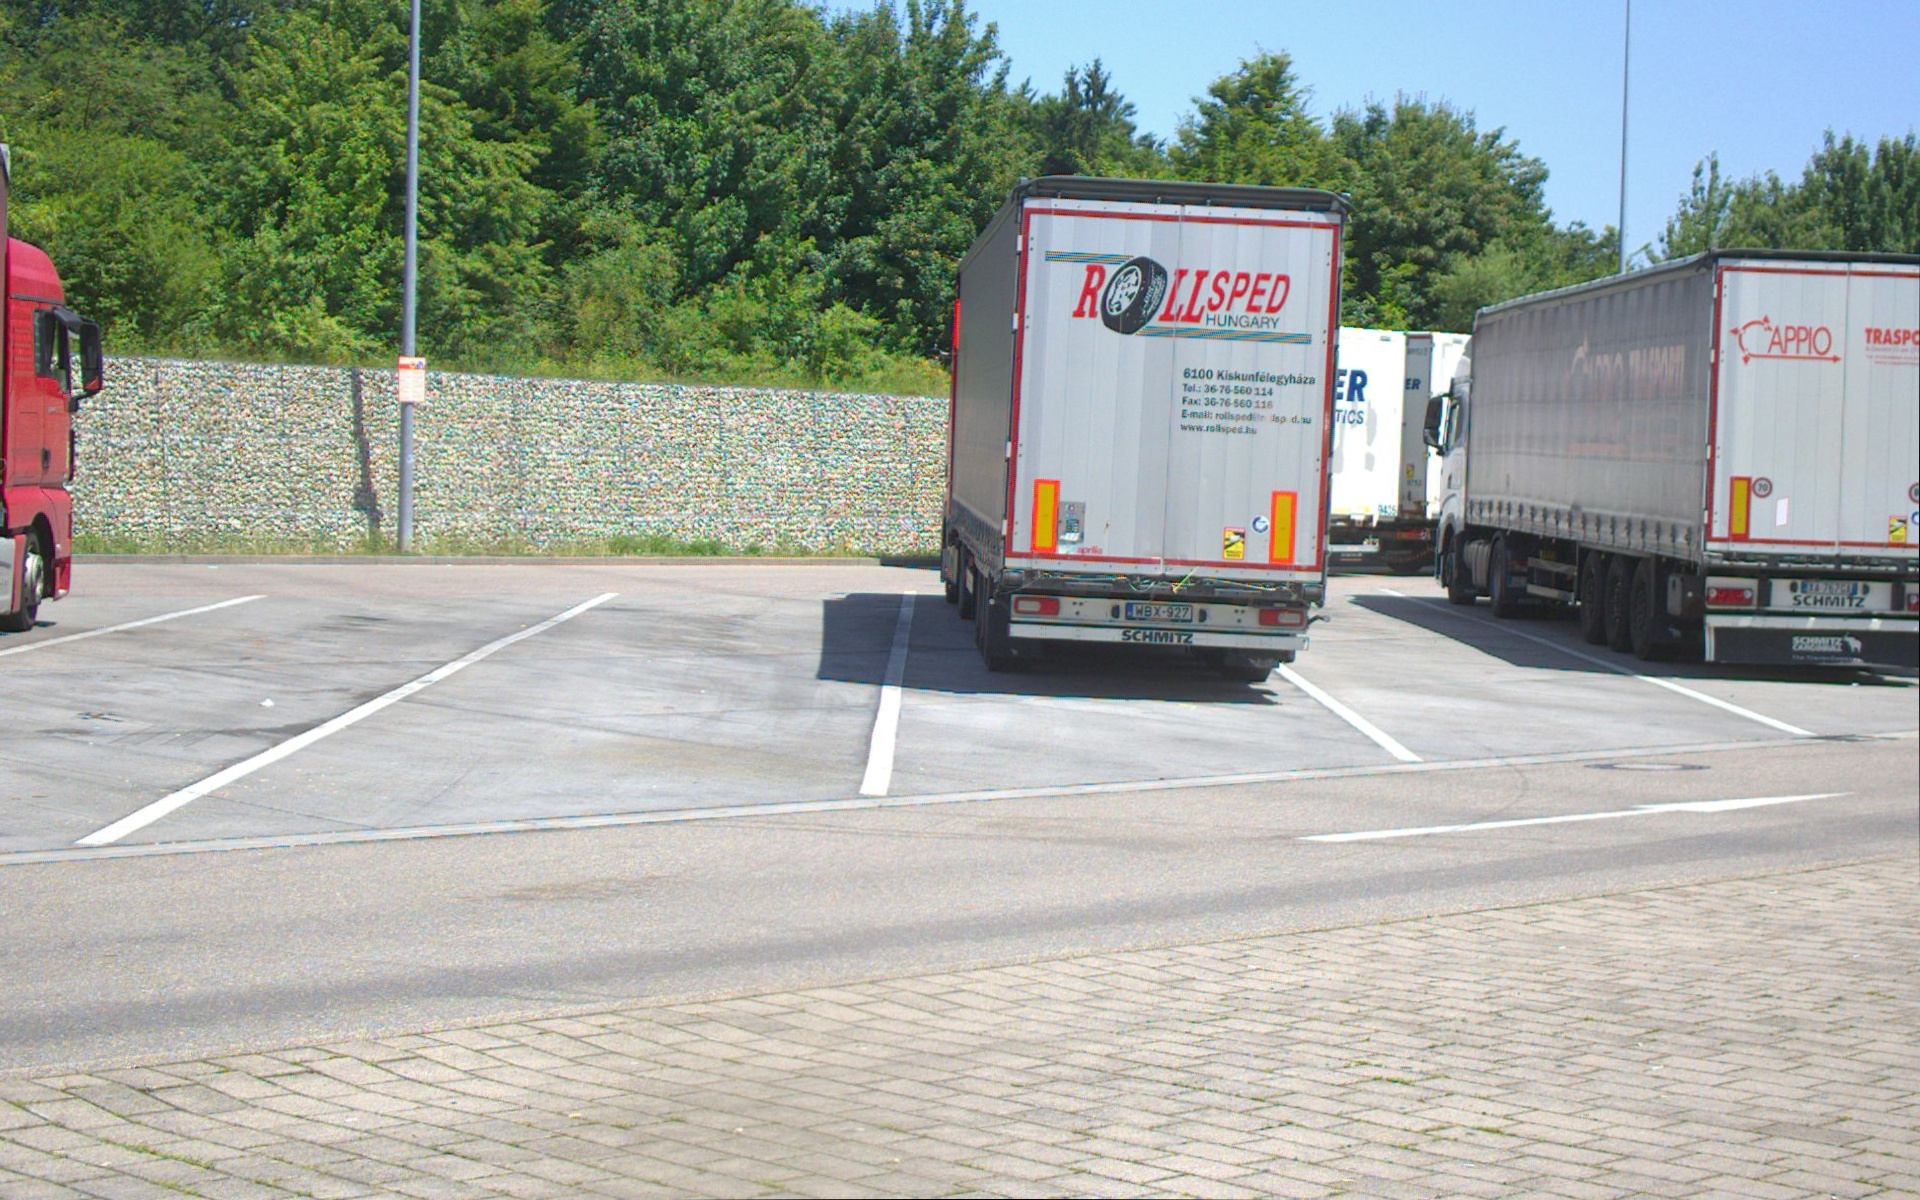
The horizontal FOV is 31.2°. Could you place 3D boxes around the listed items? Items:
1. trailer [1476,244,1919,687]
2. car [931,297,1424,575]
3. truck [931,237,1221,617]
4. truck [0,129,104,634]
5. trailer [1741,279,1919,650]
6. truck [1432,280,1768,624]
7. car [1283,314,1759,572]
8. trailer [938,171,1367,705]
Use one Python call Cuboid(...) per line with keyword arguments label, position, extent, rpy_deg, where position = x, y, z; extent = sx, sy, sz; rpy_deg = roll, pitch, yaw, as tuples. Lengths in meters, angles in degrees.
Cuboid(label="trailer", position=(8.180, -1.574, 37.960), extent=(2.866, 4.023, 12.439), rpy_deg=(2, 3, 0))
Cuboid(label="car", position=(3.571, -2.517, 54.289), extent=(2.687, 4.030, 8.445), rpy_deg=(6, 5, 45))
Cuboid(label="truck", position=(1.224, -2.060, 40.702), extent=(2.866, 4.023, 7.028), rpy_deg=(2, 3, -2))
Cuboid(label="truck", position=(-9.152, -1.815, 27.985), extent=(2.696, 4.099, 6.240), rpy_deg=(2, 3, 0))
Cuboid(label="trailer", position=(11.836, -1.535, 39.024), extent=(2.866, 4.023, 12.439), rpy_deg=(2, 3, 0))
Cuboid(label="truck", position=(8.121, -1.957, 44.587), extent=(2.866, 4.023, 6.957), rpy_deg=(2, 3, 0))
Cuboid(label="car", position=(10.113, -2.687, 60.873), extent=(2.687, 4.174, 10.190), rpy_deg=(6, 5, 45))
Cuboid(label="trailer", position=(1.435, -1.641, 33.623), extent=(2.866, 4.023, 14.243), rpy_deg=(2, 3, -2))
